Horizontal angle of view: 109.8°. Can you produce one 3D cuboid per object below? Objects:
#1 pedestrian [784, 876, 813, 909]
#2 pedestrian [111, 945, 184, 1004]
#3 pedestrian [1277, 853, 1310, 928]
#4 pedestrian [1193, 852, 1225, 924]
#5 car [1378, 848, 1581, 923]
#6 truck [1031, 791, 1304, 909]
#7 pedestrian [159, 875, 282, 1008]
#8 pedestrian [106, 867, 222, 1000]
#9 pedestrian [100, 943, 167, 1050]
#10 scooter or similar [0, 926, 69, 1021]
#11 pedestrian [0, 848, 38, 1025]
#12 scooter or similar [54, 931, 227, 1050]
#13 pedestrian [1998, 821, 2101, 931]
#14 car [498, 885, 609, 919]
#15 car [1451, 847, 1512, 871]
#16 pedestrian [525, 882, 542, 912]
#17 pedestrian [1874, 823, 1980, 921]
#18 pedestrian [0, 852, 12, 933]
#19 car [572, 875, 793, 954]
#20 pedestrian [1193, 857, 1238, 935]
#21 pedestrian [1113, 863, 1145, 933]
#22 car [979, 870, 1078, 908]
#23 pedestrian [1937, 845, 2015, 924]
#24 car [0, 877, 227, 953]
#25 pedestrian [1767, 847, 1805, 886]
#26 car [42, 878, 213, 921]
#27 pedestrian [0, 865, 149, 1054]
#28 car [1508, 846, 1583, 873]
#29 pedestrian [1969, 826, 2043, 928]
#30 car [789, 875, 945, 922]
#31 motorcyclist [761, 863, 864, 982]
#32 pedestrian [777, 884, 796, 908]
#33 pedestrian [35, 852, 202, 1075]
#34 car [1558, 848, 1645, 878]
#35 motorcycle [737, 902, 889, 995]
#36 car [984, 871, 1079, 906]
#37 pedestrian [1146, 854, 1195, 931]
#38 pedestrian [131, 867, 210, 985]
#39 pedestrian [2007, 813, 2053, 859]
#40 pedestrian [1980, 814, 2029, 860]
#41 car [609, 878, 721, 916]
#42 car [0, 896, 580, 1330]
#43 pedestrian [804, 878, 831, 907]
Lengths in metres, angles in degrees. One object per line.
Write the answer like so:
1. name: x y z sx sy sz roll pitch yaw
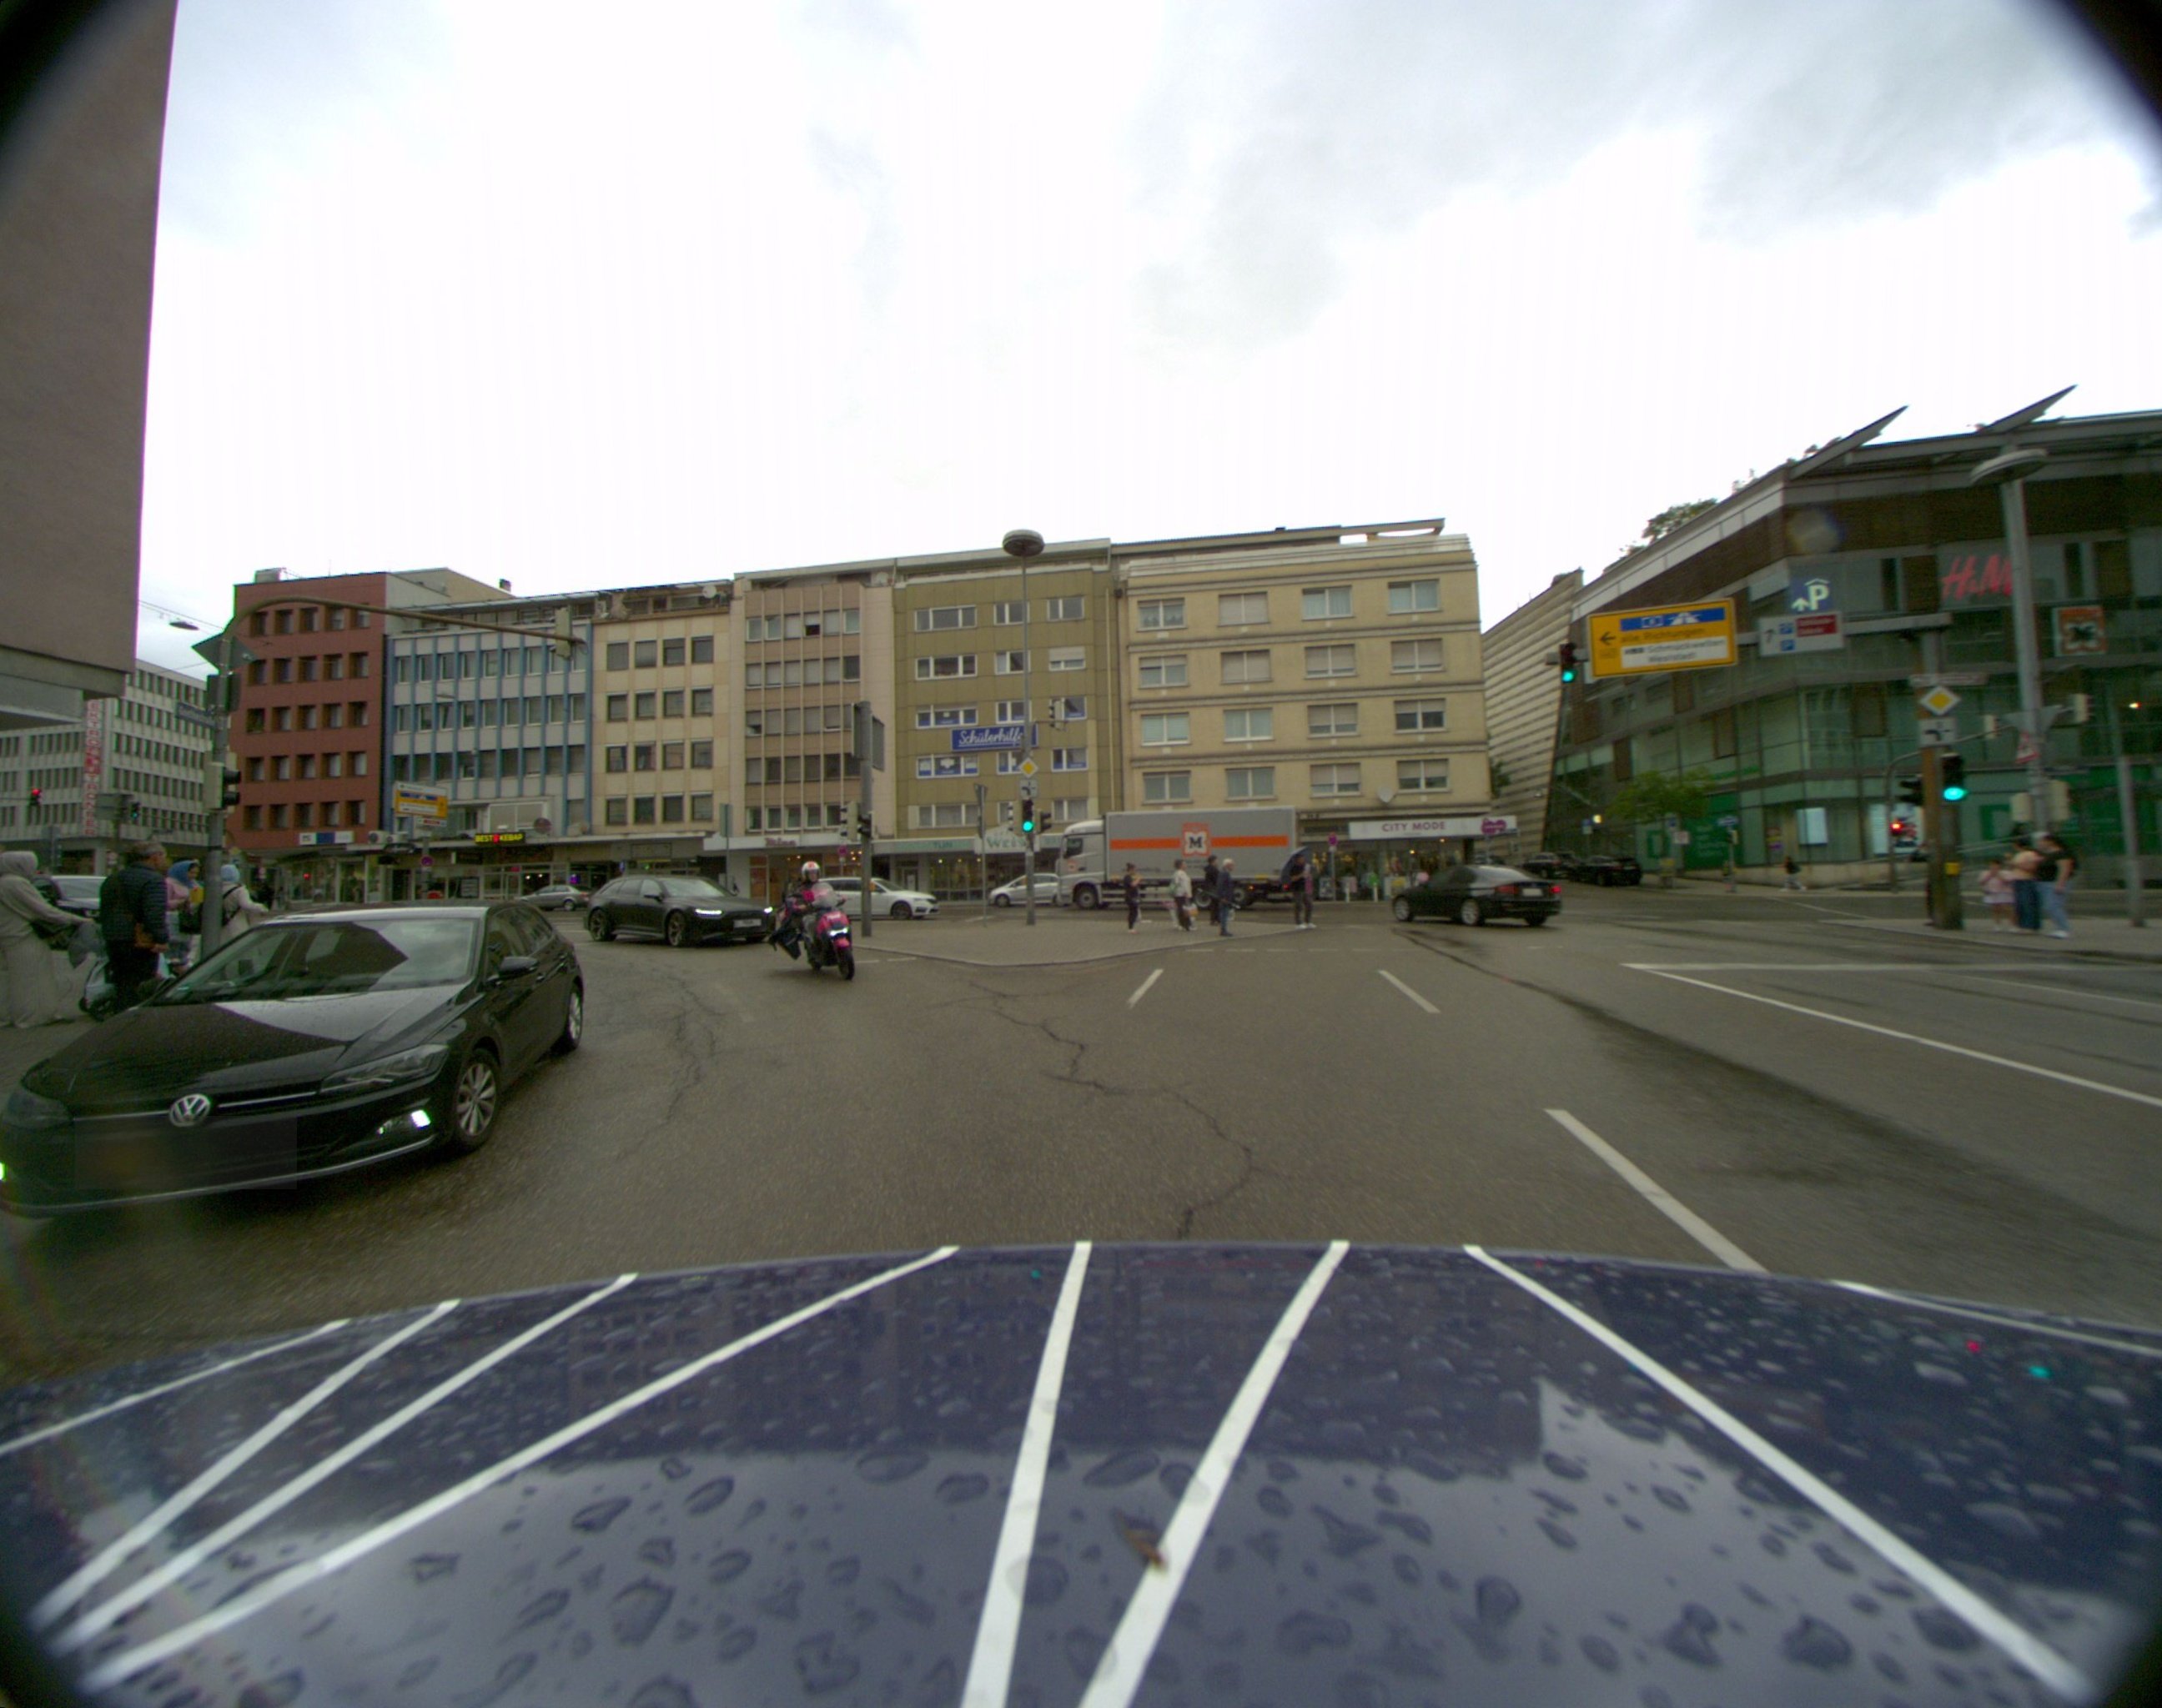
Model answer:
1. pedestrian: -15.074 2.025 40.592 1.085 1.685 0.955 -3 0 7
2. pedestrian: -9.724 1.244 7.918 0.457 0.567 0.373 -2 -4 27
3. pedestrian: 4.859 0.817 17.422 0.692 1.682 0.759 0 0 13
4. pedestrian: 3.107 0.817 18.419 0.706 1.701 0.787 -1 0 13
5. car: 9.449 0.883 18.546 2.000 1.415 4.634 5 -6 -9
6. truck: 3.454 0.015 31.443 10.747 4.307 2.861 -2 -1 22
7. pedestrian: -11.156 1.119 9.871 0.837 1.626 0.541 2 -4 8
8. pedestrian: -11.709 0.997 9.734 0.747 1.624 0.595 5 -4 -40
9. pedestrian: -9.342 1.387 7.492 0.471 0.993 0.262 -2 -6 31
10. scooter or similar: -12.338 1.327 8.489 1.047 0.980 0.774 2 -3 8
11. pedestrian: -11.707 0.837 7.797 0.657 1.852 0.840 2 -4 13
12. scooter or similar: -9.755 1.368 7.911 0.653 1.102 0.975 -2 -4 27
13. pedestrian: 15.326 0.345 12.045 0.637 1.679 0.784 -2 0 17
14. car: -27.816 2.537 40.133 4.873 1.598 1.873 -2 -1 9
15. car: 29.036 0.342 55.246 1.897 1.537 4.380 -4 0 -1
16. pedestrian: -31.441 2.482 43.624 0.583 1.698 0.447 -3 0 9
17. pedestrian: 16.180 0.337 14.557 0.852 1.777 1.013 -2 0 2
18. pedestrian: -11.527 0.411 8.020 0.440 0.842 0.221 -2 0 29
19. car: -8.675 1.263 16.435 4.722 1.482 2.004 -2 -2 30
20. pedestrian: 2.795 0.857 15.741 0.853 1.559 0.716 -1 0 13
21. pedestrian: 1.053 0.947 16.563 0.559 1.479 0.708 -1 0 13
22. car: -2.487 1.670 36.527 4.394 1.541 1.854 -3 0 7
23. pedestrian: 15.595 0.517 13.251 0.587 1.331 0.632 -2 0 3
24. car: -21.929 1.371 17.220 4.095 1.538 1.875 -2 -1 17
25. pedestrian: 32.161 0.565 34.659 0.696 1.751 1.047 0 -2 -30
26. car: -40.633 1.920 32.484 4.427 1.542 1.999 -2 -1 -5
27. pedestrian: -10.052 0.984 7.370 0.836 1.711 1.041 -2 -3 25
28. car: 29.245 0.335 47.995 1.897 1.537 4.380 -4 0 -1
29. pedestrian: 15.450 0.385 12.702 0.501 1.658 0.572 -2 -1 15
30. car: -7.072 1.472 25.313 4.625 1.407 1.800 -2 -2 7
31. motorcyclist: -3.897 0.956 11.030 1.095 1.595 0.951 -1 -1 -43
32. pedestrian: -15.889 2.288 40.965 0.720 1.242 0.536 -3 0 7
33. pedestrian: -8.684 0.941 6.871 0.785 1.855 0.619 2 -3 24
34. car: 28.935 0.469 42.426 1.804 1.537 4.296 -2 0 -1
35. motorcycle: -3.950 1.300 11.106 1.317 1.128 2.179 0 -2 -43
36. car: -2.334 1.638 36.437 4.195 1.554 1.707 -2 -1 10
37. pedestrian: 2.012 0.837 16.952 0.913 1.662 0.982 -2 0 14
38. pedestrian: -13.574 1.059 11.355 0.780 1.681 0.629 -2 -4 44
39. pedestrian: 42.025 -0.772 33.643 0.849 1.968 0.878 -2 -1 8
40. pedestrian: 41.076 -0.748 33.804 0.973 1.968 0.884 -2 -1 8
41. car: -21.434 2.195 39.240 4.956 1.816 1.857 -2 -1 9
42. car: -4.754 1.169 5.012 1.745 1.423 3.871 -2 2 -24
43. pedestrian: -13.741 2.011 39.639 1.064 1.475 0.669 -3 0 7
